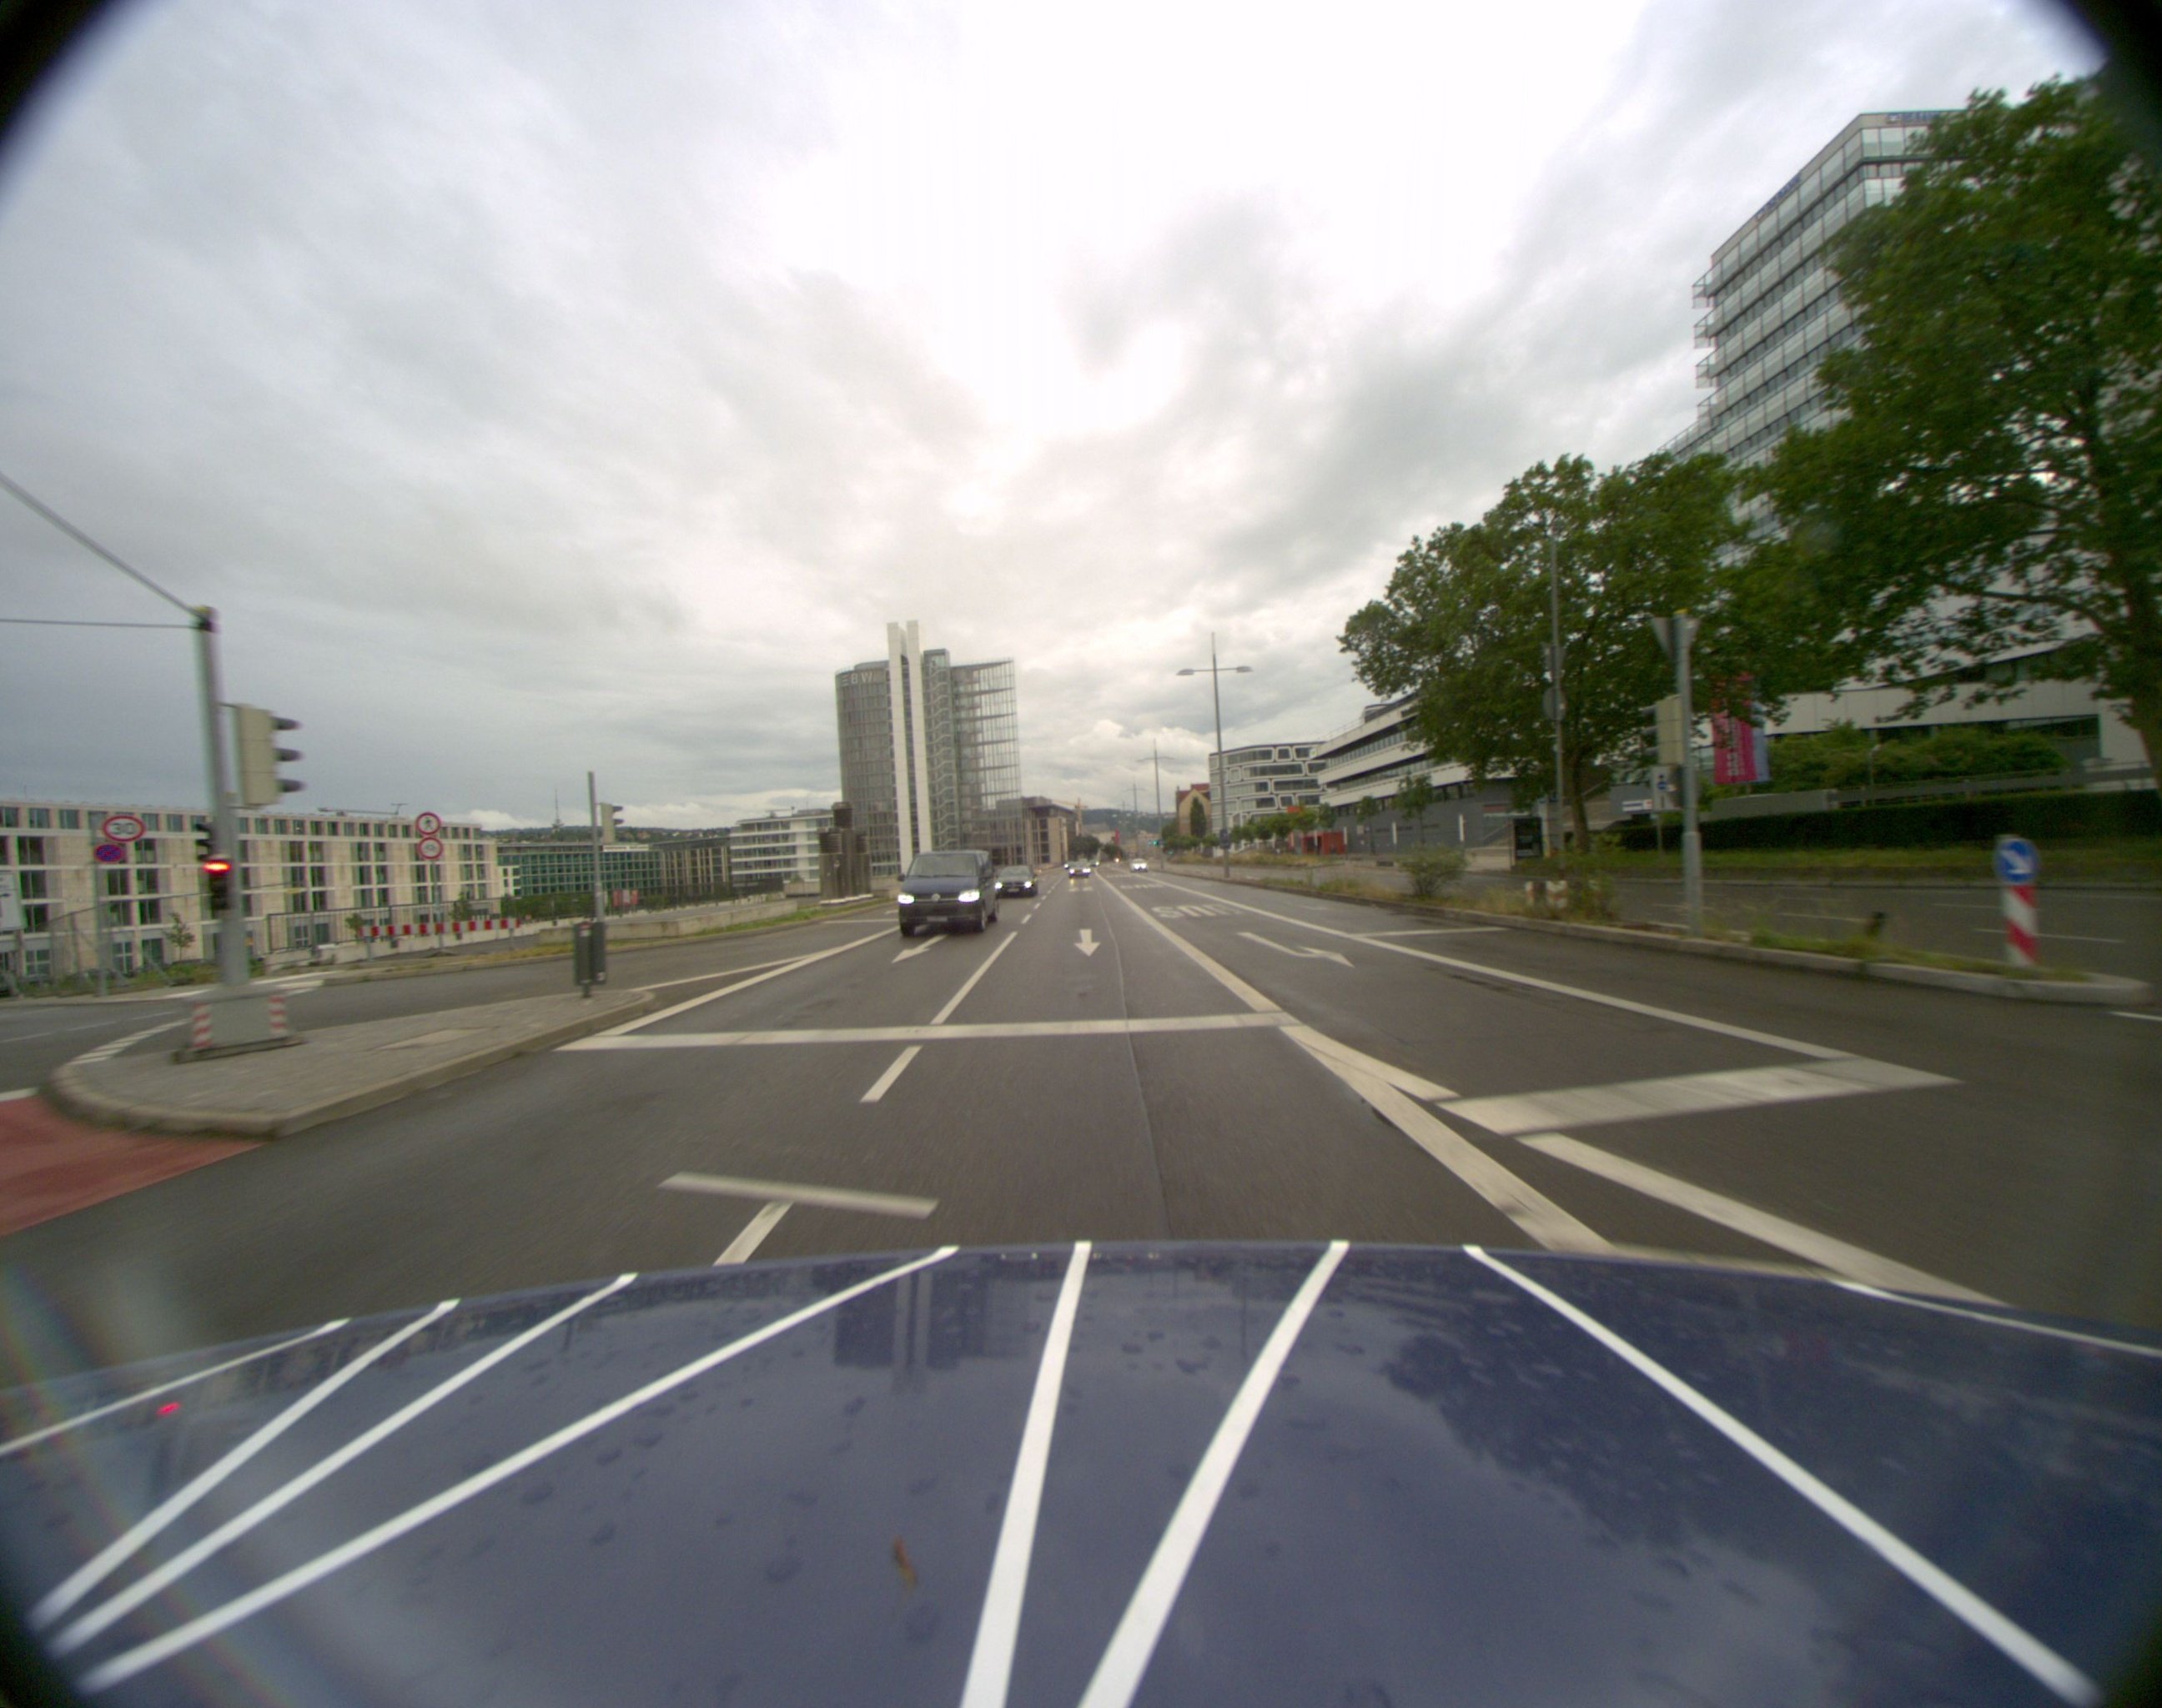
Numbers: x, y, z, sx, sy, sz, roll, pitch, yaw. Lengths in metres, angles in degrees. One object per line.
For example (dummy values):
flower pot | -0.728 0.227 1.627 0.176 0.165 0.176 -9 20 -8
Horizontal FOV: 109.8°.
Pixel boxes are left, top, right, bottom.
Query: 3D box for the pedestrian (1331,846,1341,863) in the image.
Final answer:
pedestrian | 27.488 0.053 81.897 0.786 1.797 0.628 -3 1 1

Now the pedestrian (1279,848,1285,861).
pedestrian | 29.493 0.094 111.543 0.631 1.797 0.628 -3 1 1

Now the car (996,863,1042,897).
car | -2.802 1.168 35.227 1.727 1.368 4.155 -3 -1 0

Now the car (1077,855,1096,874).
car | 0.631 1.159 85.619 1.998 2.002 3.999 -3 1 0

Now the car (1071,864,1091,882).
car | 0.013 1.692 67.364 1.684 1.379 3.475 -3 1 1

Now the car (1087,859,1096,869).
car | 2.274 2.103 166.338 1.998 2.002 3.999 -3 1 0

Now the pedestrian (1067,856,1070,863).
pedestrian | -3.069 1.358 187.949 0.660 1.601 0.547 -4 0 7

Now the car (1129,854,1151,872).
car | 6.428 0.978 83.138 1.971 1.816 3.927 -3 1 -1

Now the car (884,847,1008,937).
car | -3.202 0.860 19.169 2.038 1.871 5.042 -3 -1 1

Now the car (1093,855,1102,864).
car | 3.841 1.276 181.703 1.998 2.002 3.999 -3 1 0

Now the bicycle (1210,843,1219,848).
bicycle | 25.098 -1.535 142.740 0.610 0.852 1.653 -3 1 -32

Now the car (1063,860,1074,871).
car | -2.350 2.143 145.691 1.998 1.827 3.999 -3 1 0
